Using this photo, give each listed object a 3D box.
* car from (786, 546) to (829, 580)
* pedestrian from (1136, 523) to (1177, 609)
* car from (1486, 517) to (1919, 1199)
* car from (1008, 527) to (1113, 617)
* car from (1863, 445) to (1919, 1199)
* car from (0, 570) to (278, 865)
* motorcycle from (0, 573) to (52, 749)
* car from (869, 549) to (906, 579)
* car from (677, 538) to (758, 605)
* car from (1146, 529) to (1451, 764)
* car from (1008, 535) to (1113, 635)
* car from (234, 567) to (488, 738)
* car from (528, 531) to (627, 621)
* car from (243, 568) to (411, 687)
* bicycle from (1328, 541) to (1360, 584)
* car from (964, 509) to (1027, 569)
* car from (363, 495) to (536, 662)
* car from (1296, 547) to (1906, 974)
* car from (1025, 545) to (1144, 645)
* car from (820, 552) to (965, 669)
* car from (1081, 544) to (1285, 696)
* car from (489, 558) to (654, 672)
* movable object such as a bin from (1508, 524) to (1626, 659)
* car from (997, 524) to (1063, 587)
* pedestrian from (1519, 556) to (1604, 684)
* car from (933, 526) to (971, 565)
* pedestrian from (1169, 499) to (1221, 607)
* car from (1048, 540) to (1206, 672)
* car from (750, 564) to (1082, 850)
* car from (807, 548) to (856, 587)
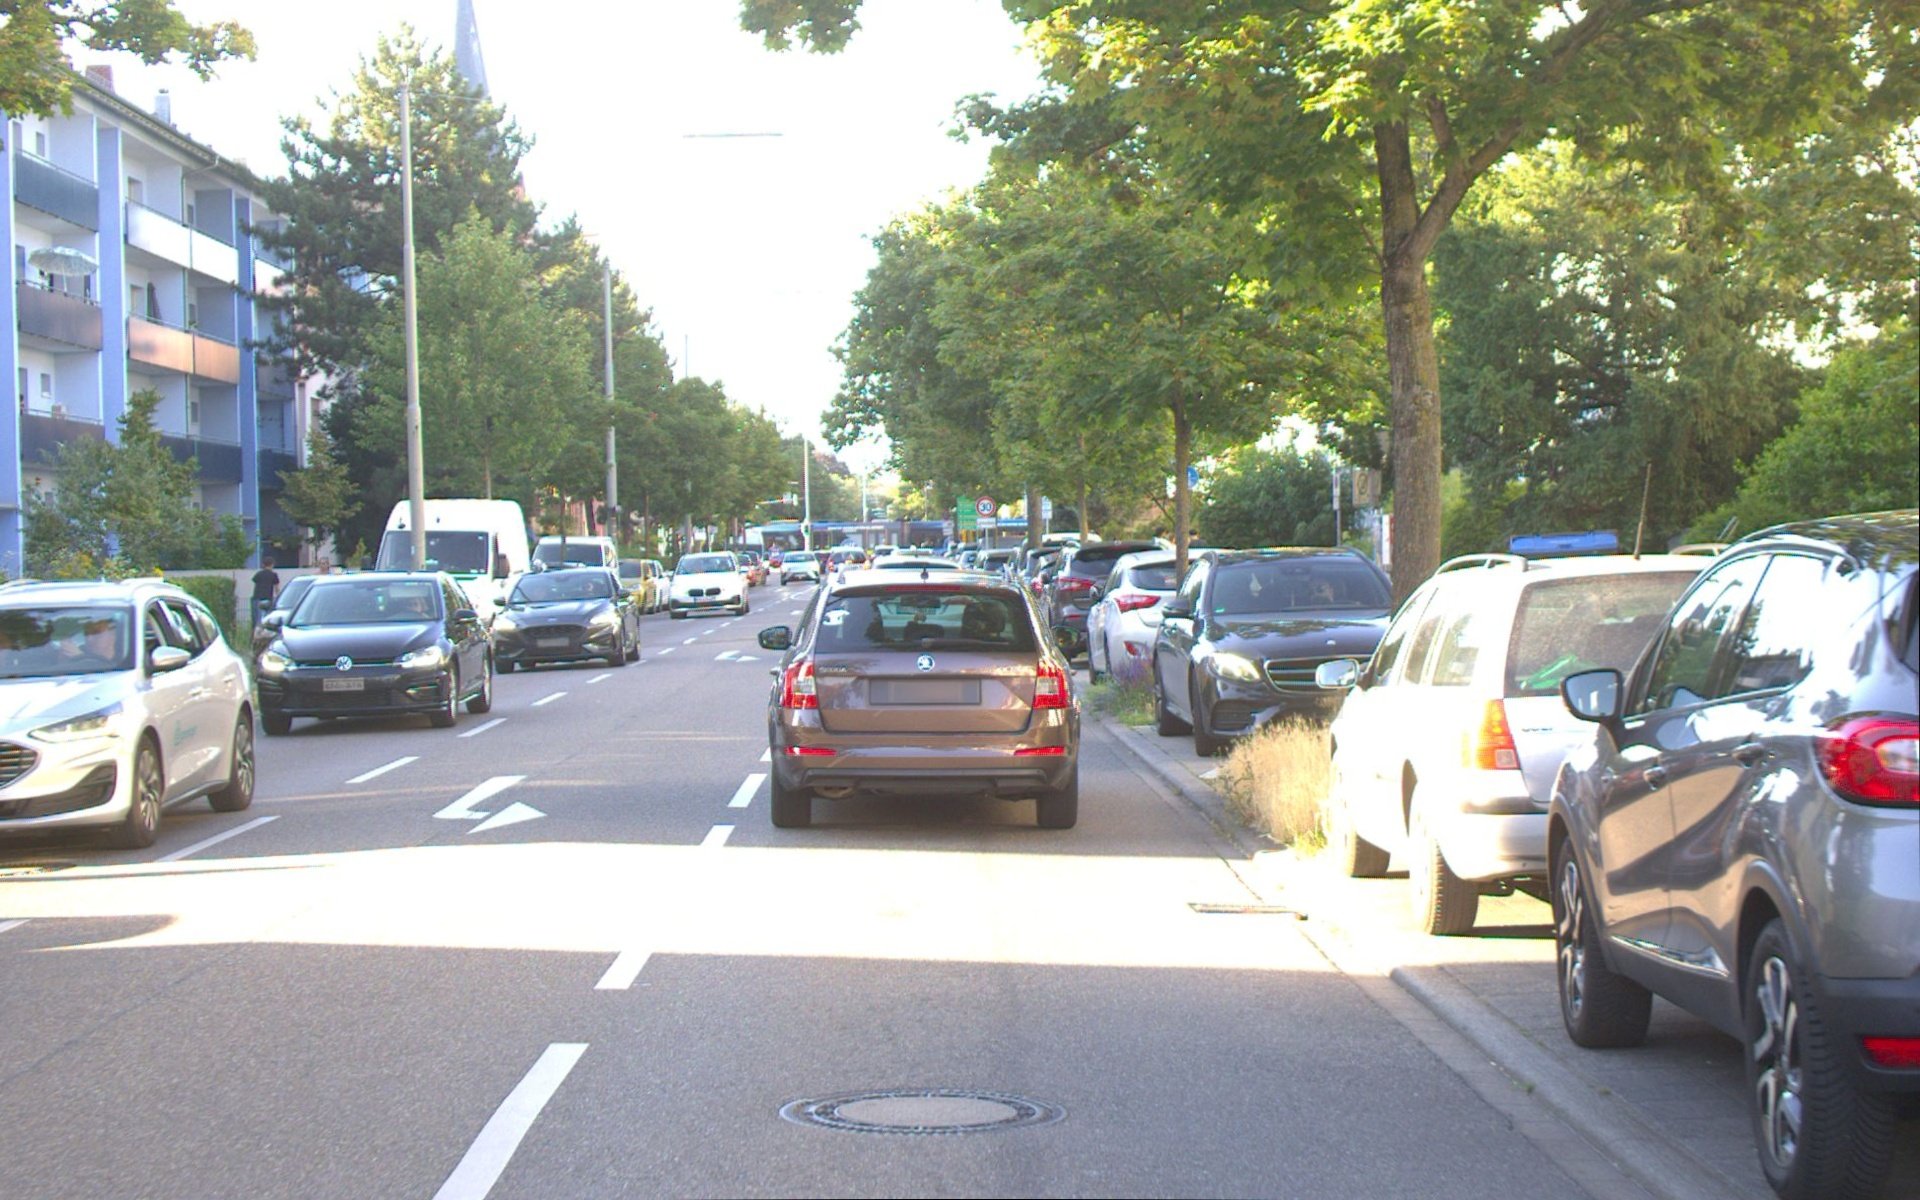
[{"bbox_3d":[-7.076,-1.718,159.509,1.781,1.489,3.971,-2,1,0],"label":"car"},{"bbox_3d":[4.278,-0.743,74.909,0.748,1.854,1.068,-2,1,-2],"label":"pedestrian"},{"bbox_3d":[2.563,0.568,9.051,1.636,1.563,4.000,-2,1,-1],"label":"car"},{"bbox_3d":[2.046,-0.594,70.846,1.800,1.802,4.424,0,1,-3],"label":"car"},{"bbox_3d":[2.718,0.563,4.241,1.721,1.650,4.598,-1,1,-4],"label":"car"},{"bbox_3d":[-5.366,0.637,20.195,1.832,1.465,4.452,-4,1,-1],"label":"car"},{"bbox_3d":[-8.327,0.472,27.141,2.021,1.384,0.991,1,0,-32],"label":"motorcycle"},{"bbox_3d":[-3.944,-1.949,185.788,1.644,1.593,3.651,-1,1,-6],"label":"car"},{"bbox_3d":[-5.911,-0.710,83.810,1.879,1.537,4.268,-1,1,-4],"label":"car"},{"bbox_3d":[2.520,0.289,26.665,1.874,1.575,4.820,-2,1,1],"label":"car"},{"bbox_3d":[1.763,-0.294,61.662,1.754,1.657,4.252,-2,1,1],"label":"car"},{"bbox_3d":[-5.552,0.445,32.320,1.700,1.399,4.028,-3,1,-1],"label":"car"},{"bbox_3d":[-8.914,-0.579,80.490,1.868,2.024,5.301,0,1,-2],"label":"car"},{"bbox_3d":[-8.430,0.338,46.042,1.612,1.468,3.813,1,1,-1],"label":"car"},{"bbox_3d":[8.636,-0.846,77.351,0.475,0.941,1.680,-2,1,-1],"label":"bicycle"},{"bbox_3d":[1.142,-1.946,110.189,1.916,1.854,5.633,-1,1,1],"label":"car"},{"bbox_3d":[-8.420,-0.391,57.337,1.993,2.607,7.106,0,1,-1],"label":"car"},{"bbox_3d":[2.545,0.547,14.682,1.636,1.485,4.416,-2,1,-1],"label":"car"},{"bbox_3d":[1.950,-0.109,54.729,1.613,1.461,3.959,-2,1,-1],"label":"car"},{"bbox_3d":[-0.954,0.146,48.174,1.892,1.501,3.790,2,0,-1],"label":"car"},{"bbox_3d":[2.330,0.165,36.903,1.718,1.489,4.394,-1,1,-2],"label":"car"},{"bbox_3d":[-5.500,0.182,49.150,1.700,1.465,4.294,-2,1,2],"label":"car"},{"bbox_3d":[7.125,-0.106,40.406,1.267,1.487,1.139,-3,1,9],"label":"movable object such as a bin"},{"bbox_3d":[1.884,-1.214,93.743,1.754,1.681,4.252,0,1,1],"label":"car"},{"bbox_3d":[5.854,0.190,33.496,0.673,1.230,0.790,-1,0,0],"label":"pedestrian"},{"bbox_3d":[-0.380,-2.503,158.062,1.754,1.799,4.000,0,1,0],"label":"car"},{"bbox_3d":[3.703,-0.738,54.231,0.788,1.694,0.807,-1,0,4],"label":"pedestrian"},{"bbox_3d":[2.114,0.040,44.562,1.718,1.595,4.096,-1,1,-1],"label":"car"},{"bbox_3d":[-0.209,0.546,20.257,1.754,1.487,4.000,0,1,1],"label":"car"},{"bbox_3d":[-5.013,-1.289,134.109,1.780,1.475,3.971,0,1,-4],"label":"car"}]
